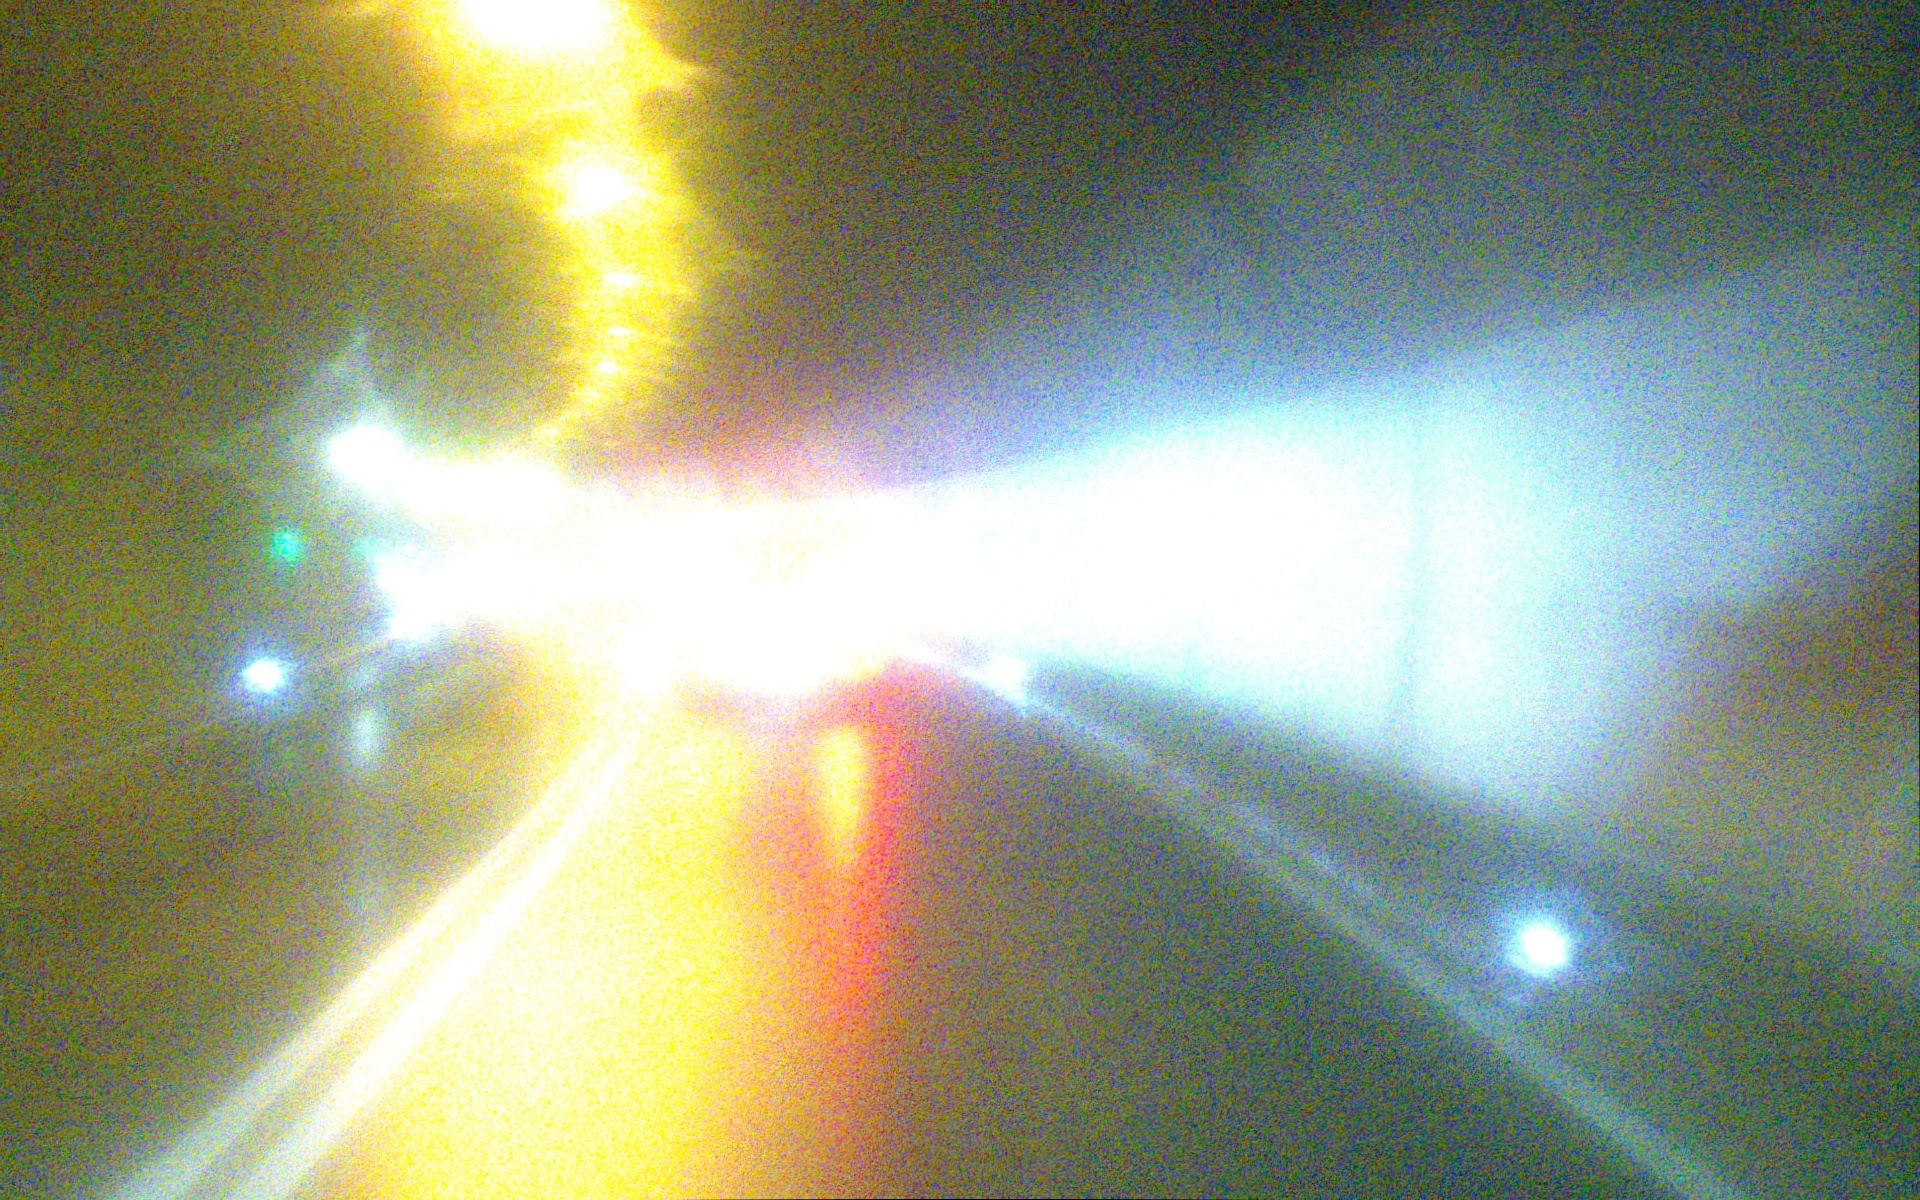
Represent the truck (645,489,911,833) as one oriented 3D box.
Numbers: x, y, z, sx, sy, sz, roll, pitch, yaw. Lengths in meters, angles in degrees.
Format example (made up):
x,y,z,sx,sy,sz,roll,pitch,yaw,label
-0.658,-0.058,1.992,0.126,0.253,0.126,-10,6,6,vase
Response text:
x,y,z,sx,sy,sz,roll,pitch,yaw,label
-1.820,0.497,34.453,2.262,3.000,7.416,2,1,-3,truck
